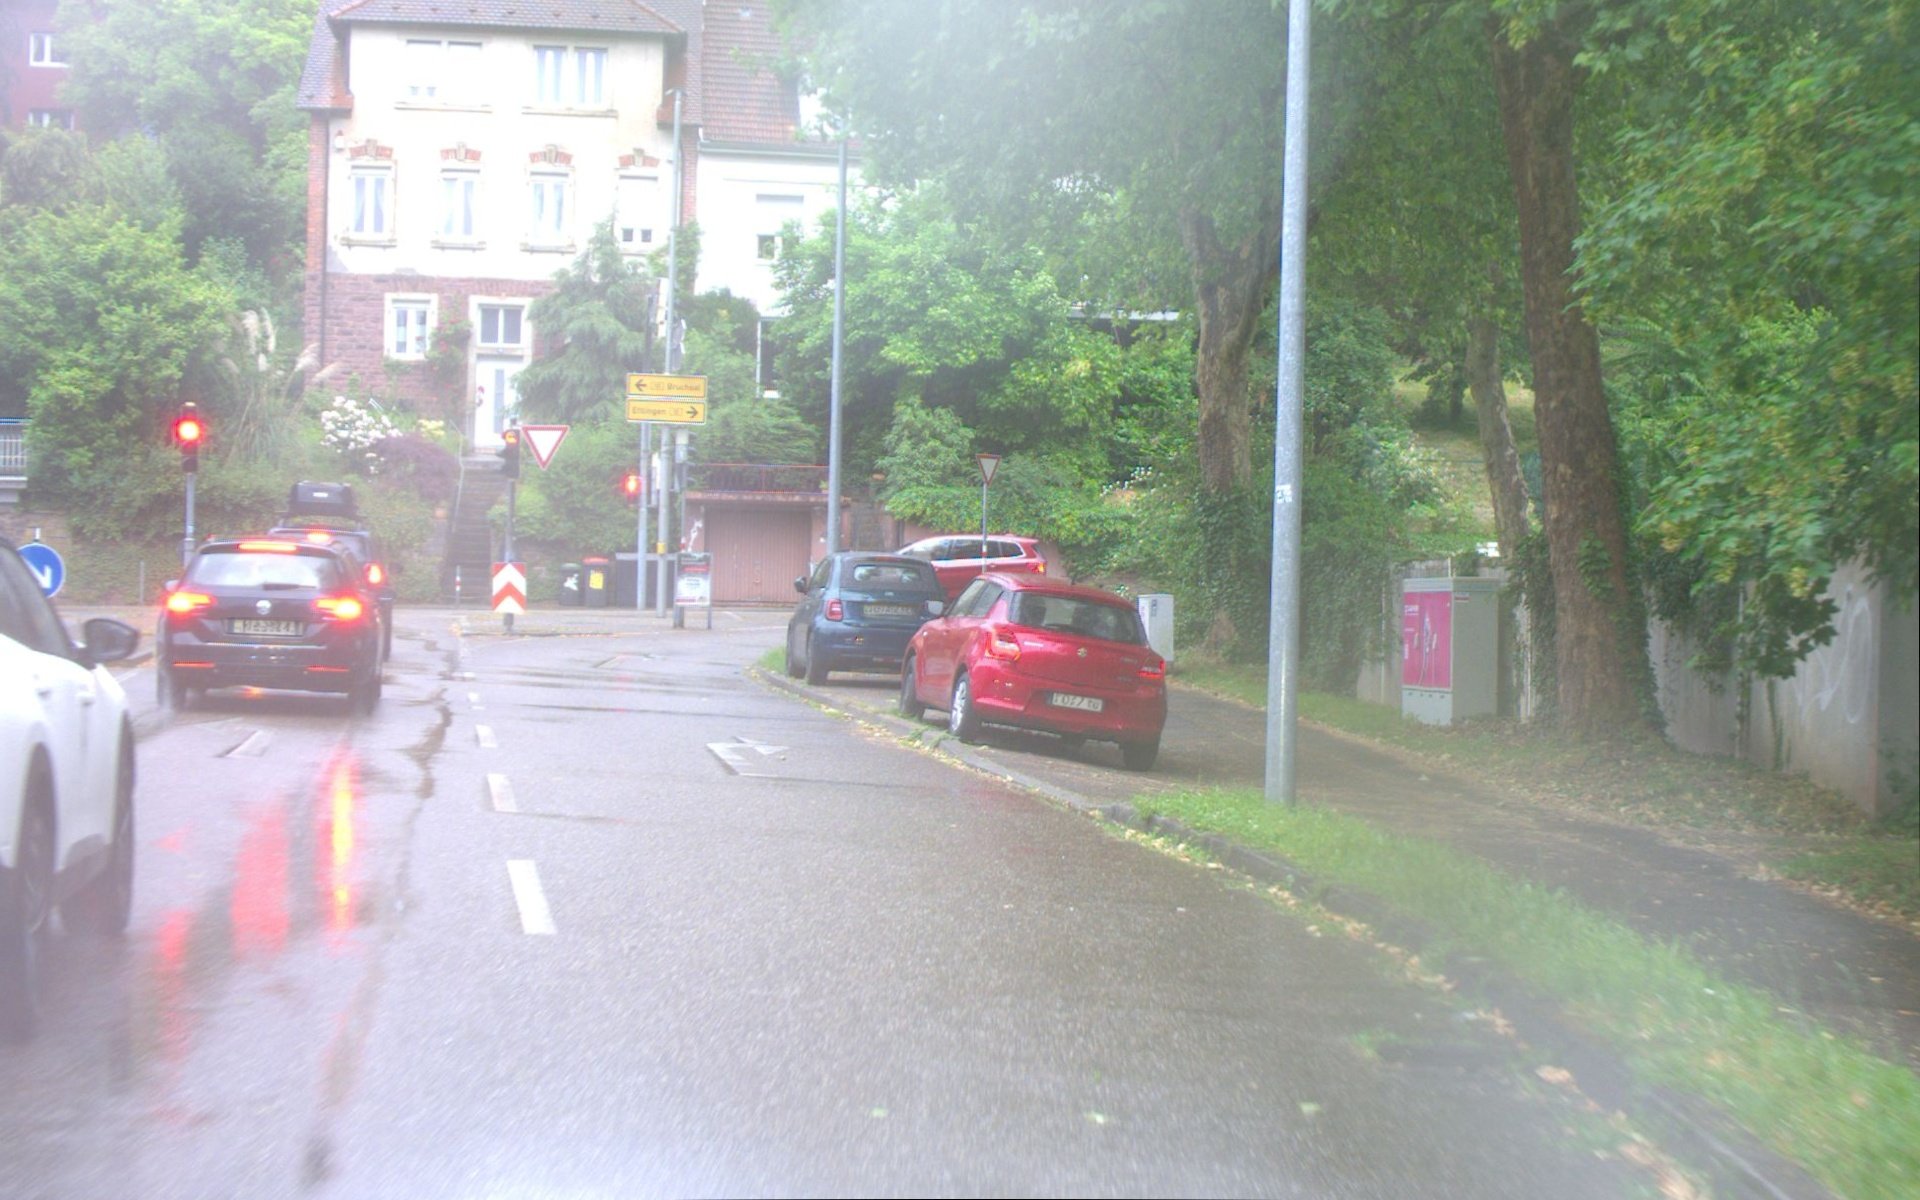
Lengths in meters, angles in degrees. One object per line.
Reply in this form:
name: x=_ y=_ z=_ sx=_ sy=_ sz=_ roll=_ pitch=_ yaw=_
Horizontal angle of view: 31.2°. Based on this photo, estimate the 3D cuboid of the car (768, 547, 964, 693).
car: x=-1.124 y=0.195 z=39.357 sx=1.749 sy=1.486 sz=3.601 roll=4 pitch=0 yaw=-8

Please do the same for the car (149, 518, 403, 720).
car: x=-5.870 y=0.103 z=29.951 sx=1.831 sy=1.451 sz=4.660 roll=4 pitch=2 yaw=-8

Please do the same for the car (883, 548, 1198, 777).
car: x=0.625 y=0.492 z=29.993 sx=1.819 sy=1.512 sz=3.744 roll=8 pitch=1 yaw=-11

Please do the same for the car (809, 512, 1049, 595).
car: x=-0.637 y=-0.920 z=67.844 sx=4.567 sy=1.595 sz=1.775 roll=0 pitch=0 yaw=-7

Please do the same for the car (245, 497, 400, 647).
car: x=-8.007 y=-0.399 z=43.398 sx=1.760 sy=1.705 sz=4.602 roll=2 pitch=2 yaw=-10

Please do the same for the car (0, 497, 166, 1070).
car: x=-3.673 y=0.446 z=11.223 sx=1.752 sy=1.530 sz=4.369 roll=0 pitch=1 yaw=-8
